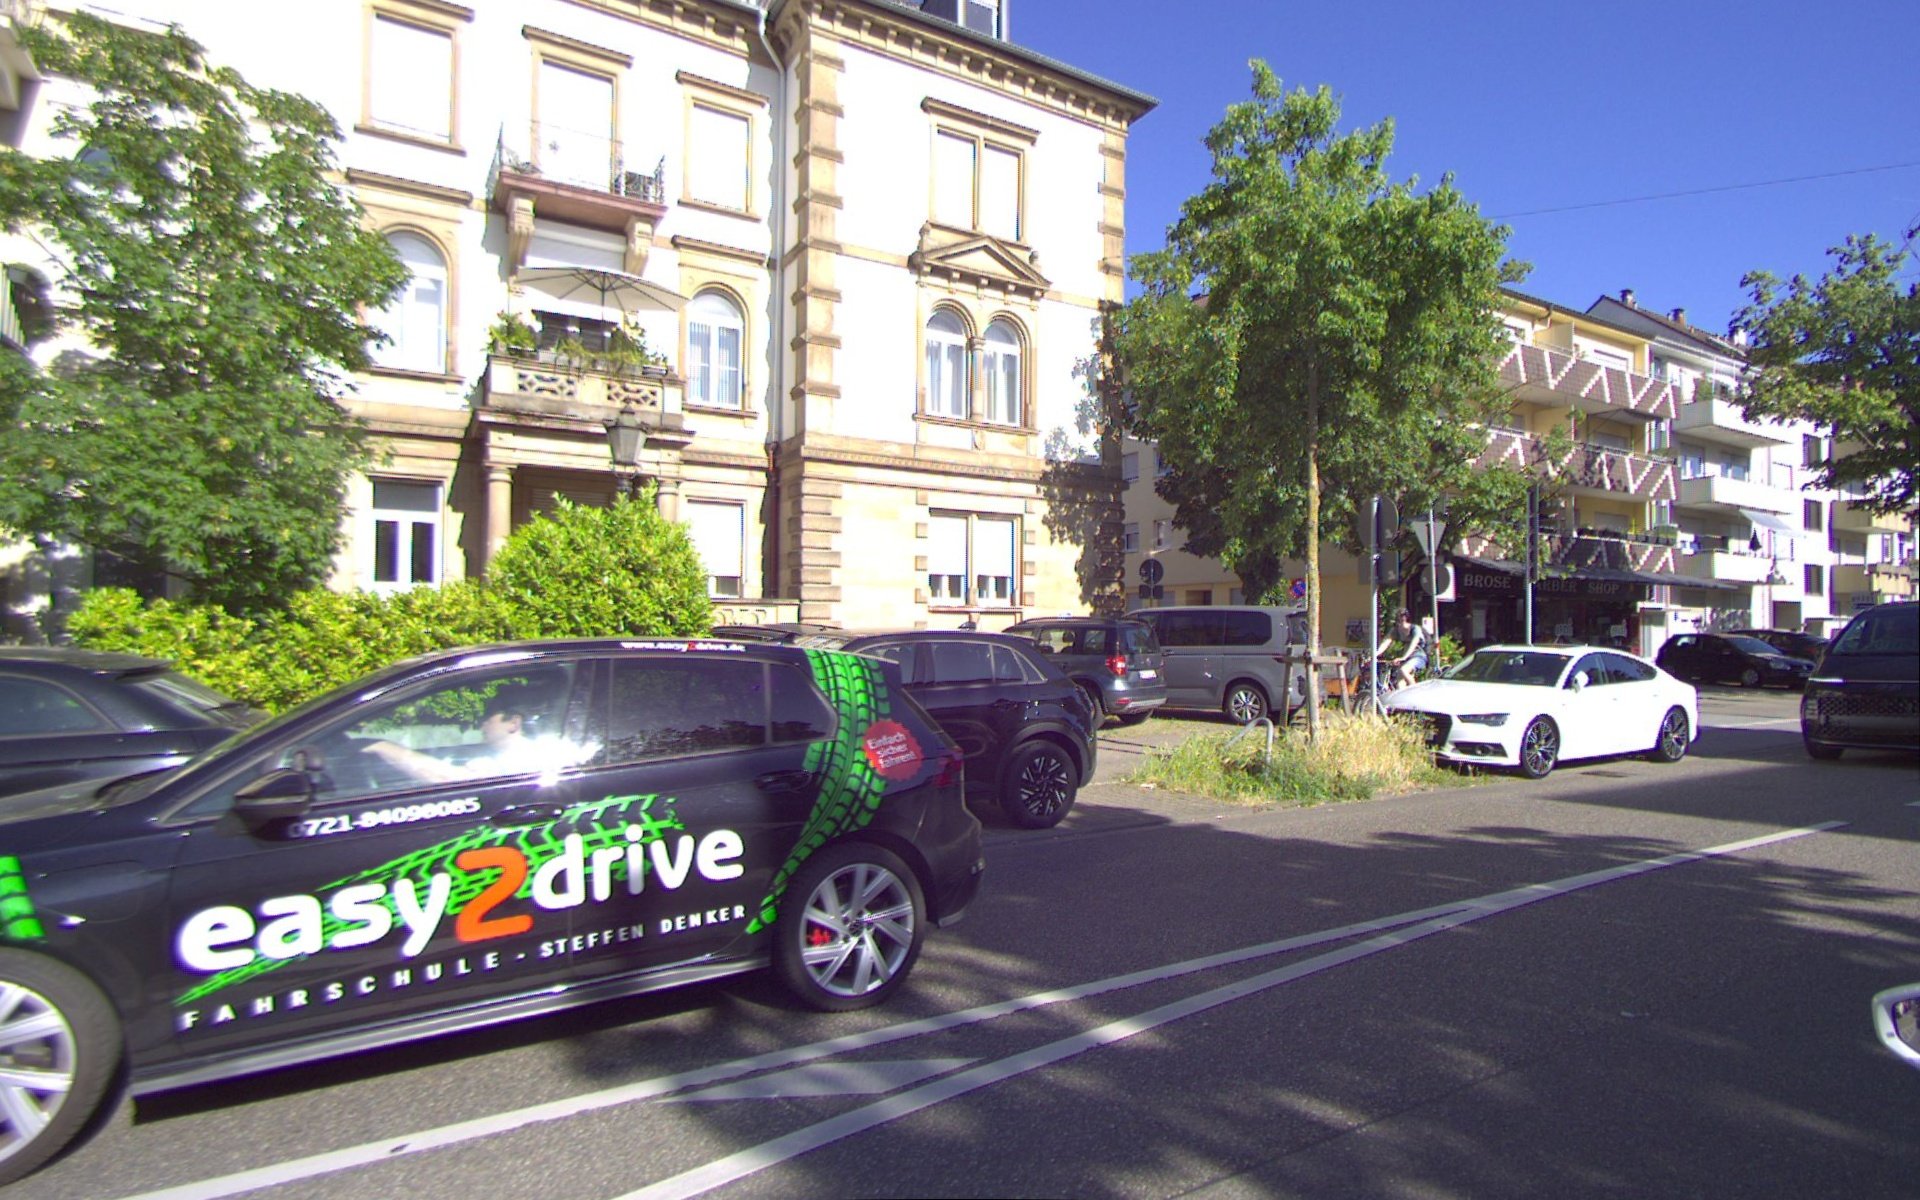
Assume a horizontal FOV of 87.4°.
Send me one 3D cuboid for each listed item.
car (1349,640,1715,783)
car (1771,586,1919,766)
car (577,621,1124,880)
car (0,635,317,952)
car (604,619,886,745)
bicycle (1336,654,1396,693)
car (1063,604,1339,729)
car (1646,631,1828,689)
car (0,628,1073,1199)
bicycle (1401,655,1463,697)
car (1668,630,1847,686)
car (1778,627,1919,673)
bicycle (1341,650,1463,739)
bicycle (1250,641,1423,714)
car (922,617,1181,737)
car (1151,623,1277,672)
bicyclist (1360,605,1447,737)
[{"bbox_3d":[7.130,1.230,12.377,4.746,1.407,1.825,1,-1,-31],"label":"car"},{"bbox_3d":[12.555,0.899,12.639,5.119,1.977,2.006,1,-4,-31],"label":"car"},{"bbox_3d":[-0.799,0.980,7.912,3.959,1.575,1.670,1,-1,-29],"label":"car"},{"bbox_3d":[-5.687,0.929,5.034,4.042,1.435,1.629,1,0,-31],"label":"car"},{"bbox_3d":[-3.075,1.040,14.109,3.853,1.508,1.628,0,-1,33],"label":"car"},{"bbox_3d":[10.954,1.975,27.114,1.734,0.993,0.402,0,-1,-24],"label":"bicycle"},{"bbox_3d":[4.095,1.024,17.311,4.257,1.904,1.873,0,-1,35],"label":"car"},{"bbox_3d":[22.083,1.655,28.763,1.702,1.475,3.991,0,-1,-11],"label":"car"},{"bbox_3d":[-1.705,0.891,4.039,4.126,1.472,1.683,1,-4,-31],"label":"car"},{"bbox_3d":[12.041,1.929,25.614,1.734,0.972,0.402,0,-1,-24],"label":"bicycle"},{"bbox_3d":[24.119,1.704,30.555,1.707,1.480,3.981,1,-1,-21],"label":"car"},{"bbox_3d":[33.102,1.806,37.216,1.859,1.506,3.968,1,-1,-30],"label":"car"},{"bbox_3d":[6.444,1.337,14.605,2.167,1.208,0.446,1,-2,-31],"label":"bicycle"},{"bbox_3d":[7.421,1.504,19.836,3.116,1.278,0.952,0,-3,26],"label":"bicycle"},{"bbox_3d":[1.408,1.129,16.158,3.857,1.666,1.674,0,-1,37],"label":"car"},{"bbox_3d":[8.068,1.495,32.219,1.627,1.461,3.969,0,-2,-30],"label":"car"},{"bbox_3d":[6.445,1.018,14.606,1.042,1.848,0.655,1,-2,-30],"label":"bicyclist"}]
